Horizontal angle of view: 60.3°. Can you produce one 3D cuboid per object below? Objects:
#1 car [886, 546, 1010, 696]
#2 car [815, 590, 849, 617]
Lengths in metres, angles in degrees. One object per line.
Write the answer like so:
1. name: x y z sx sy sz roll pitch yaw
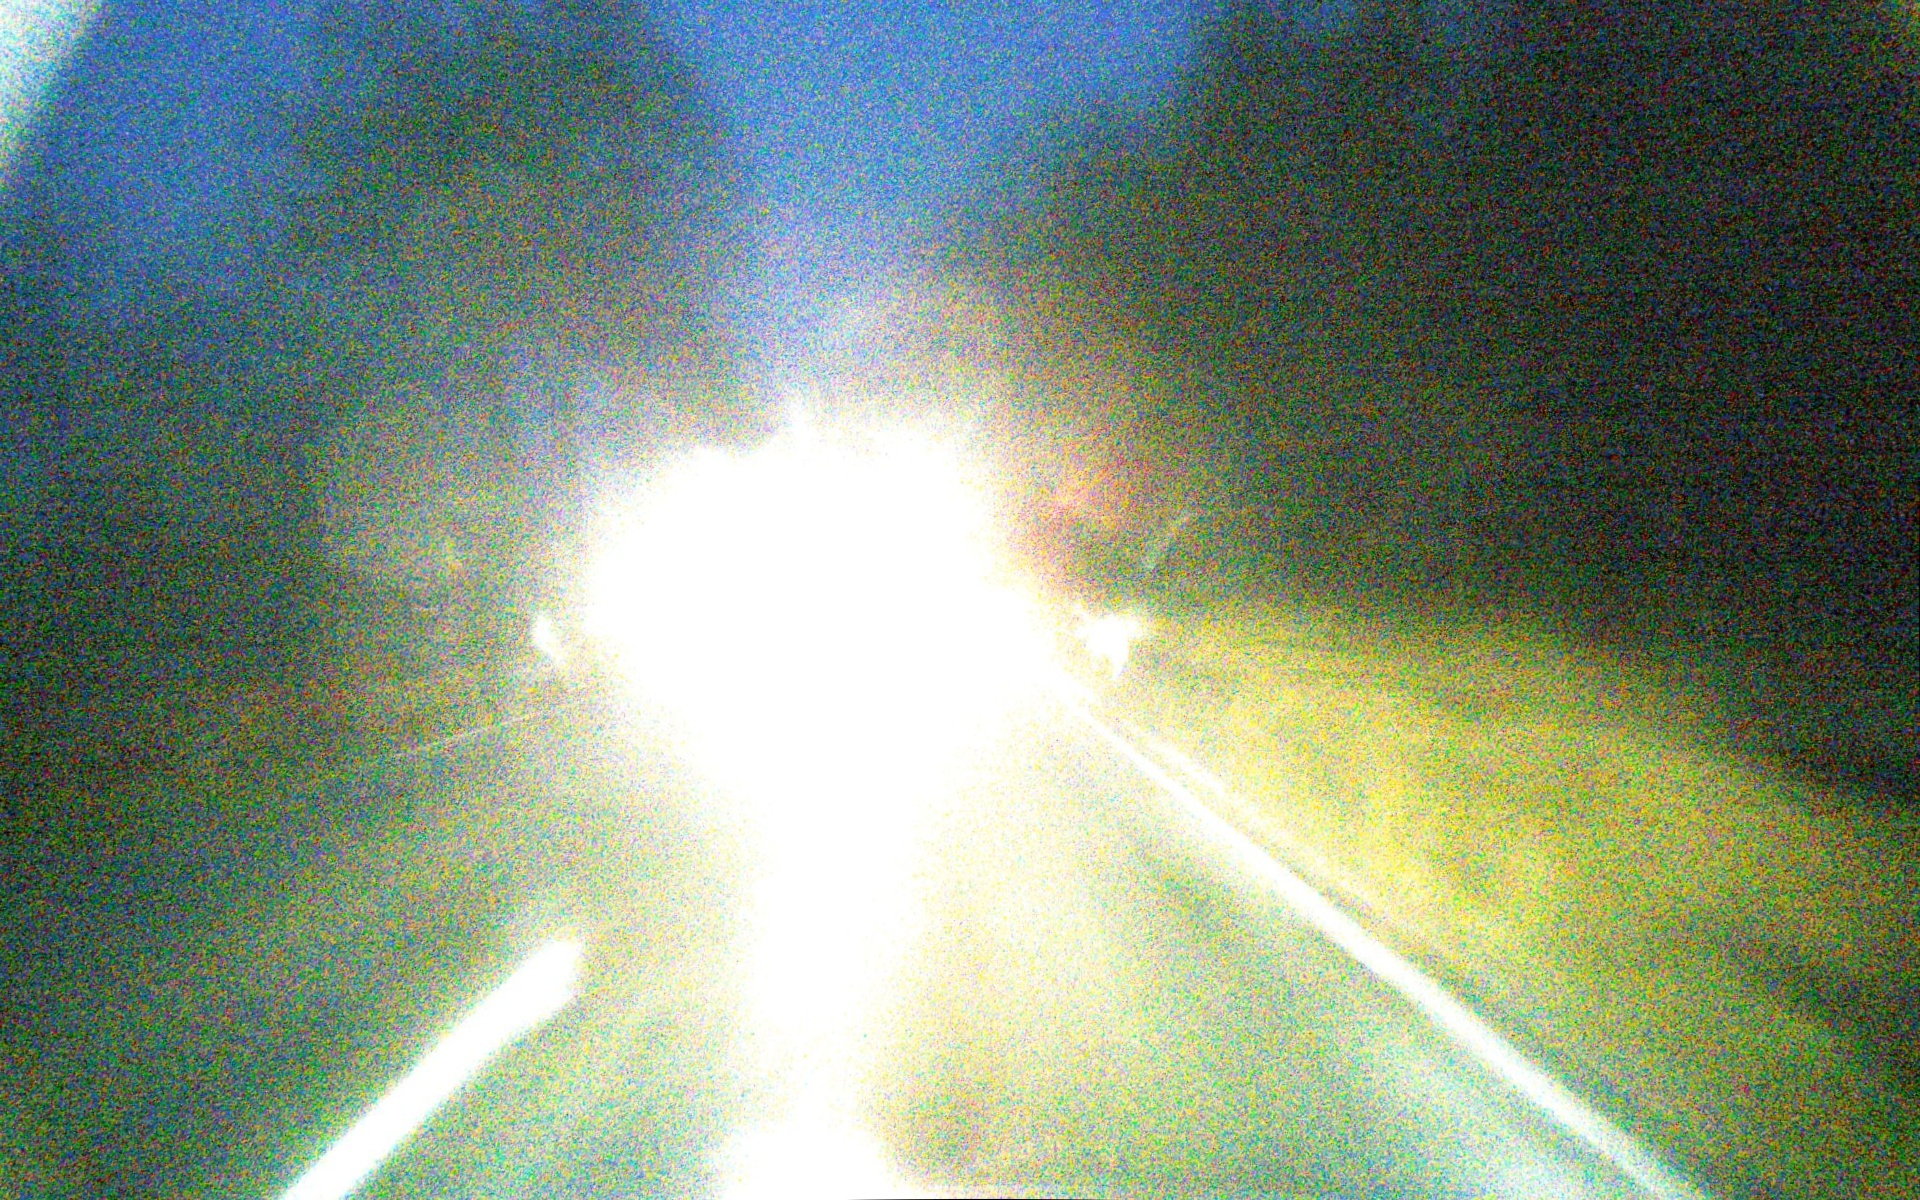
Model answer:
1. car: -0.247 0.375 31.218 2.136 2.602 4.507 1 0 -1
2. car: -7.338 0.204 95.025 1.814 1.515 3.991 0 0 -3
